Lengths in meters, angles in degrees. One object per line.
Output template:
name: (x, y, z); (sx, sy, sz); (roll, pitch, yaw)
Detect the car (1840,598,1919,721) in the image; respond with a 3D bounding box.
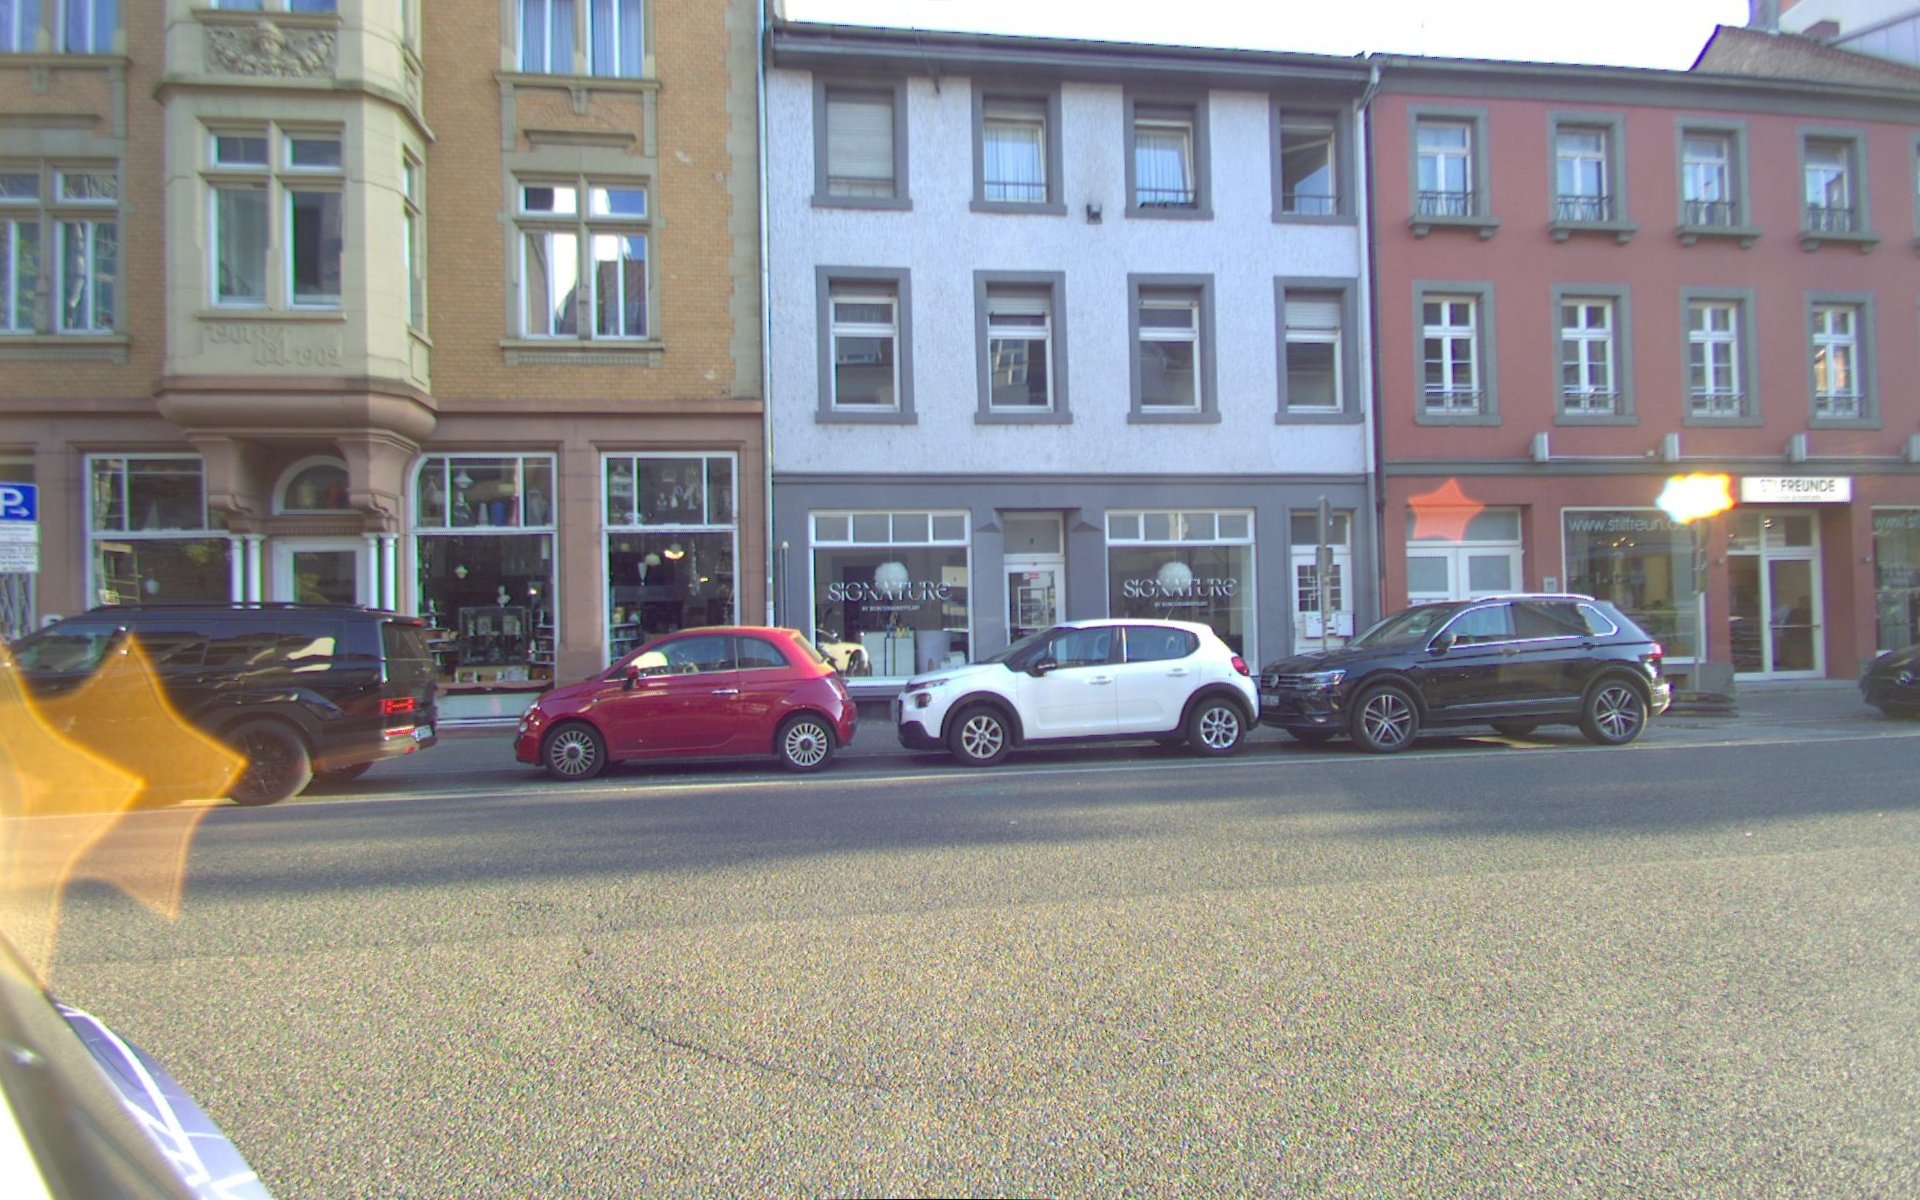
car: (13.876, 0.675, 12.740); (4.340, 1.499, 1.693); (-1, -4, -9)

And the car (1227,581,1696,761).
car: (5.508, 0.761, 11.401); (4.389, 1.711, 1.803); (-1, -4, -9)

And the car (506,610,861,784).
car: (-2.767, 0.967, 10.653); (3.368, 1.582, 1.533); (-1, -3, -6)

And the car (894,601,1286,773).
car: (1.295, 0.901, 11.033); (3.873, 1.585, 1.669); (-2, -3, -7)

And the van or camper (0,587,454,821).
van or camper: (-7.234, 0.888, 9.208); (4.386, 1.821, 1.900); (-1, -3, -13)
